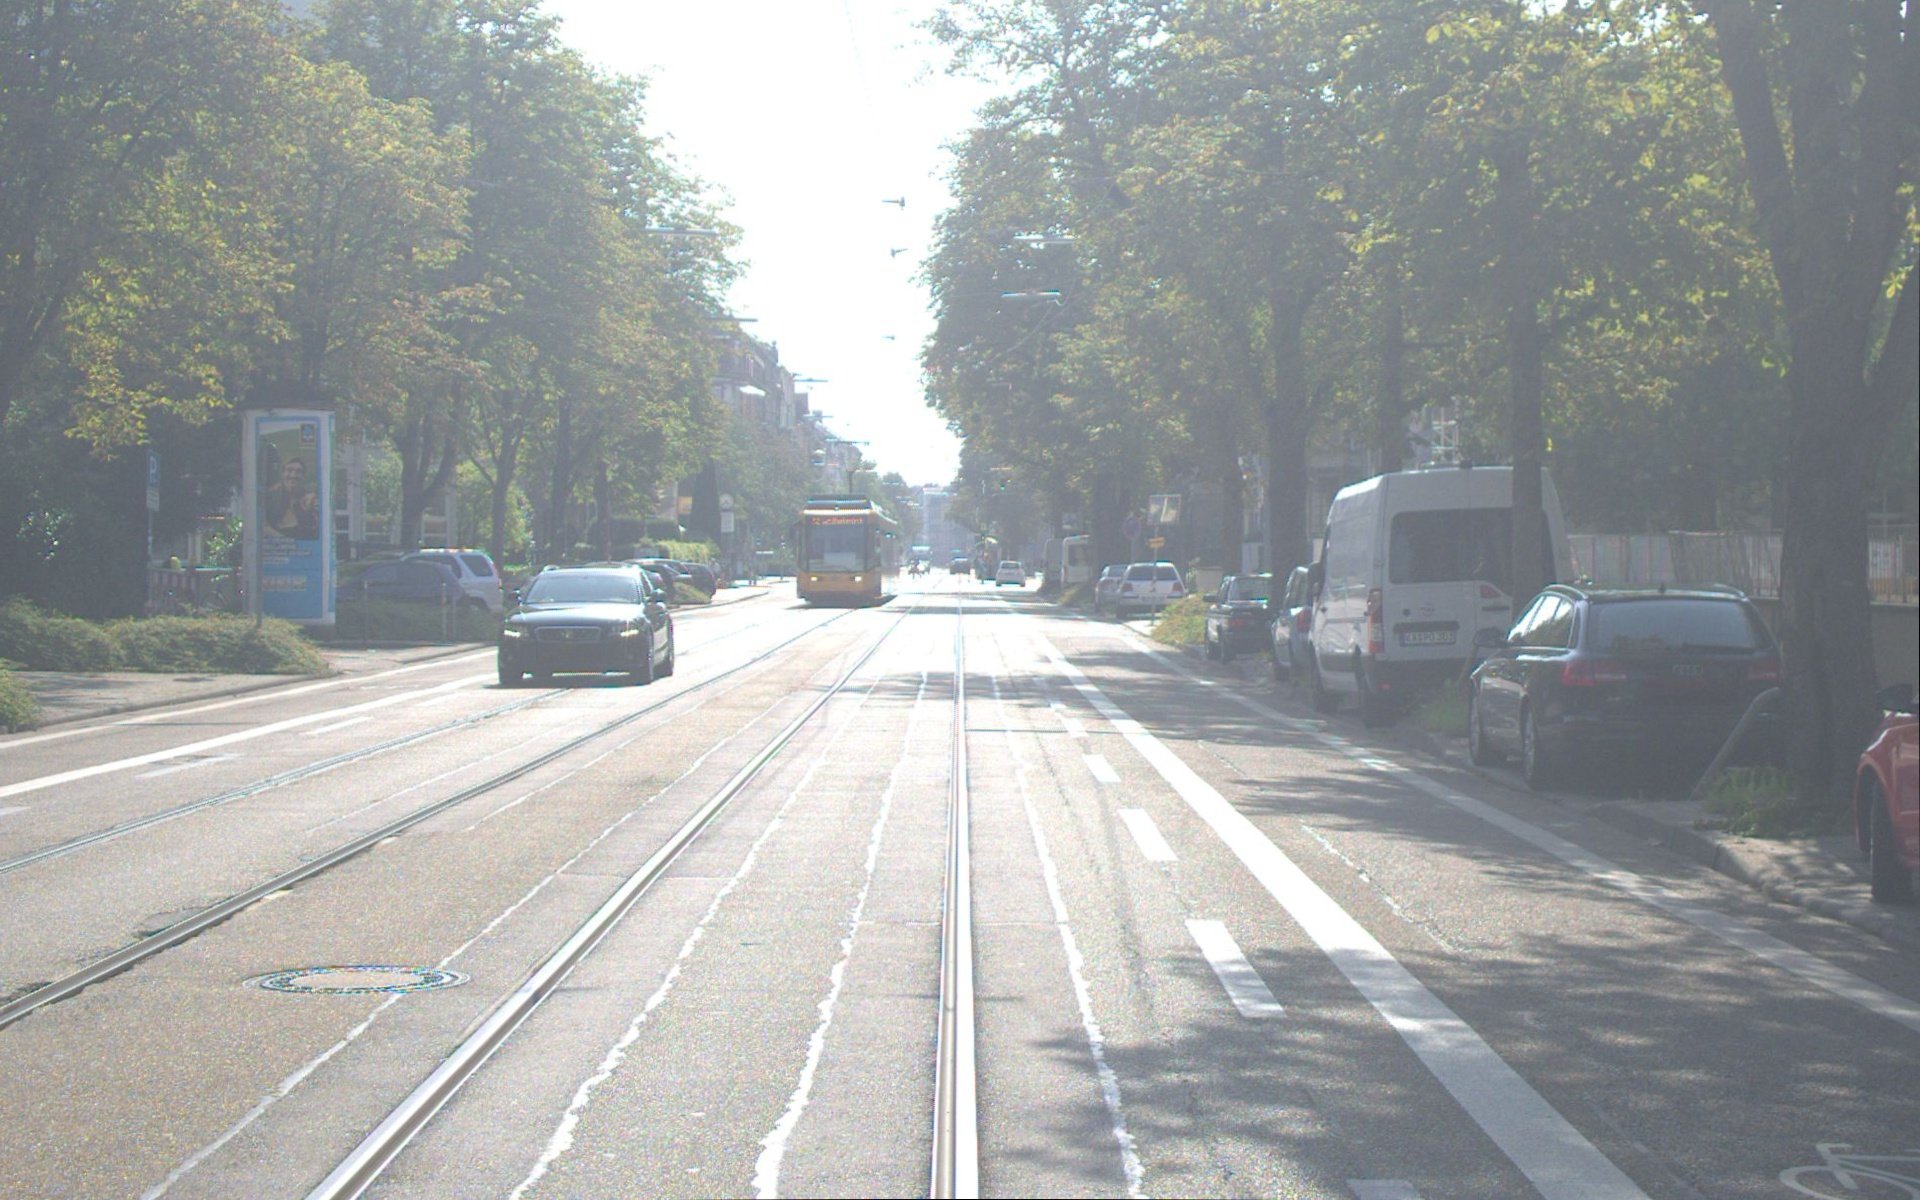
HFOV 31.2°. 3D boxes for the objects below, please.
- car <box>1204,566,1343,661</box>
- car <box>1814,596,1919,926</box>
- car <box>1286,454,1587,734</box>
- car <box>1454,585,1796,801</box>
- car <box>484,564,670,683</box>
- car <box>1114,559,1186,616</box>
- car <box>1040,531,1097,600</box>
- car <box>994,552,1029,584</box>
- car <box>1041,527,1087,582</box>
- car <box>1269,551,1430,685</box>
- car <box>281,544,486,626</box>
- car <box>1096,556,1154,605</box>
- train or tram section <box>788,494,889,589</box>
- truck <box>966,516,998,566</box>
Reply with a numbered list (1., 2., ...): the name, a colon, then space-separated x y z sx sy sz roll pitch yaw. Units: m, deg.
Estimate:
1. car: 4.899 0.181 54.207 1.753 1.373 4.719 -1 1 0
2. car: 4.969 0.707 14.800 1.616 1.409 4.000 0 1 1
3. car: 4.778 -0.096 35.323 2.082 2.544 5.502 -3 1 -1
4. car: 4.726 0.601 25.062 1.616 1.369 4.827 0 1 1
5. car: -4.655 0.249 42.341 1.828 1.371 4.513 0 1 -1
6. car: 4.822 -0.335 87.827 1.689 1.413 3.634 0 1 1
7. car: 4.077 -1.276 129.553 2.004 2.482 4.477 2 0 1
8. car: 3.012 -1.866 201.550 1.993 1.831 4.000 0 1 1
9. car: 4.728 -2.069 156.343 2.004 2.467 4.477 0 1 1
10. car: 5.024 0.197 44.731 1.664 1.611 3.877 -1 1 1
11. car: -11.687 -0.323 69.850 3.785 1.616 1.743 0 1 -44
12. car: 4.851 -0.599 101.638 1.595 1.413 3.634 0 1 1
13. train or tram section: -3.854 -1.877 112.616 2.729 2.884 15.455 0 1 0
14. truck: 1.370 -3.760 218.374 1.860 3.120 4.353 0 1 -2
